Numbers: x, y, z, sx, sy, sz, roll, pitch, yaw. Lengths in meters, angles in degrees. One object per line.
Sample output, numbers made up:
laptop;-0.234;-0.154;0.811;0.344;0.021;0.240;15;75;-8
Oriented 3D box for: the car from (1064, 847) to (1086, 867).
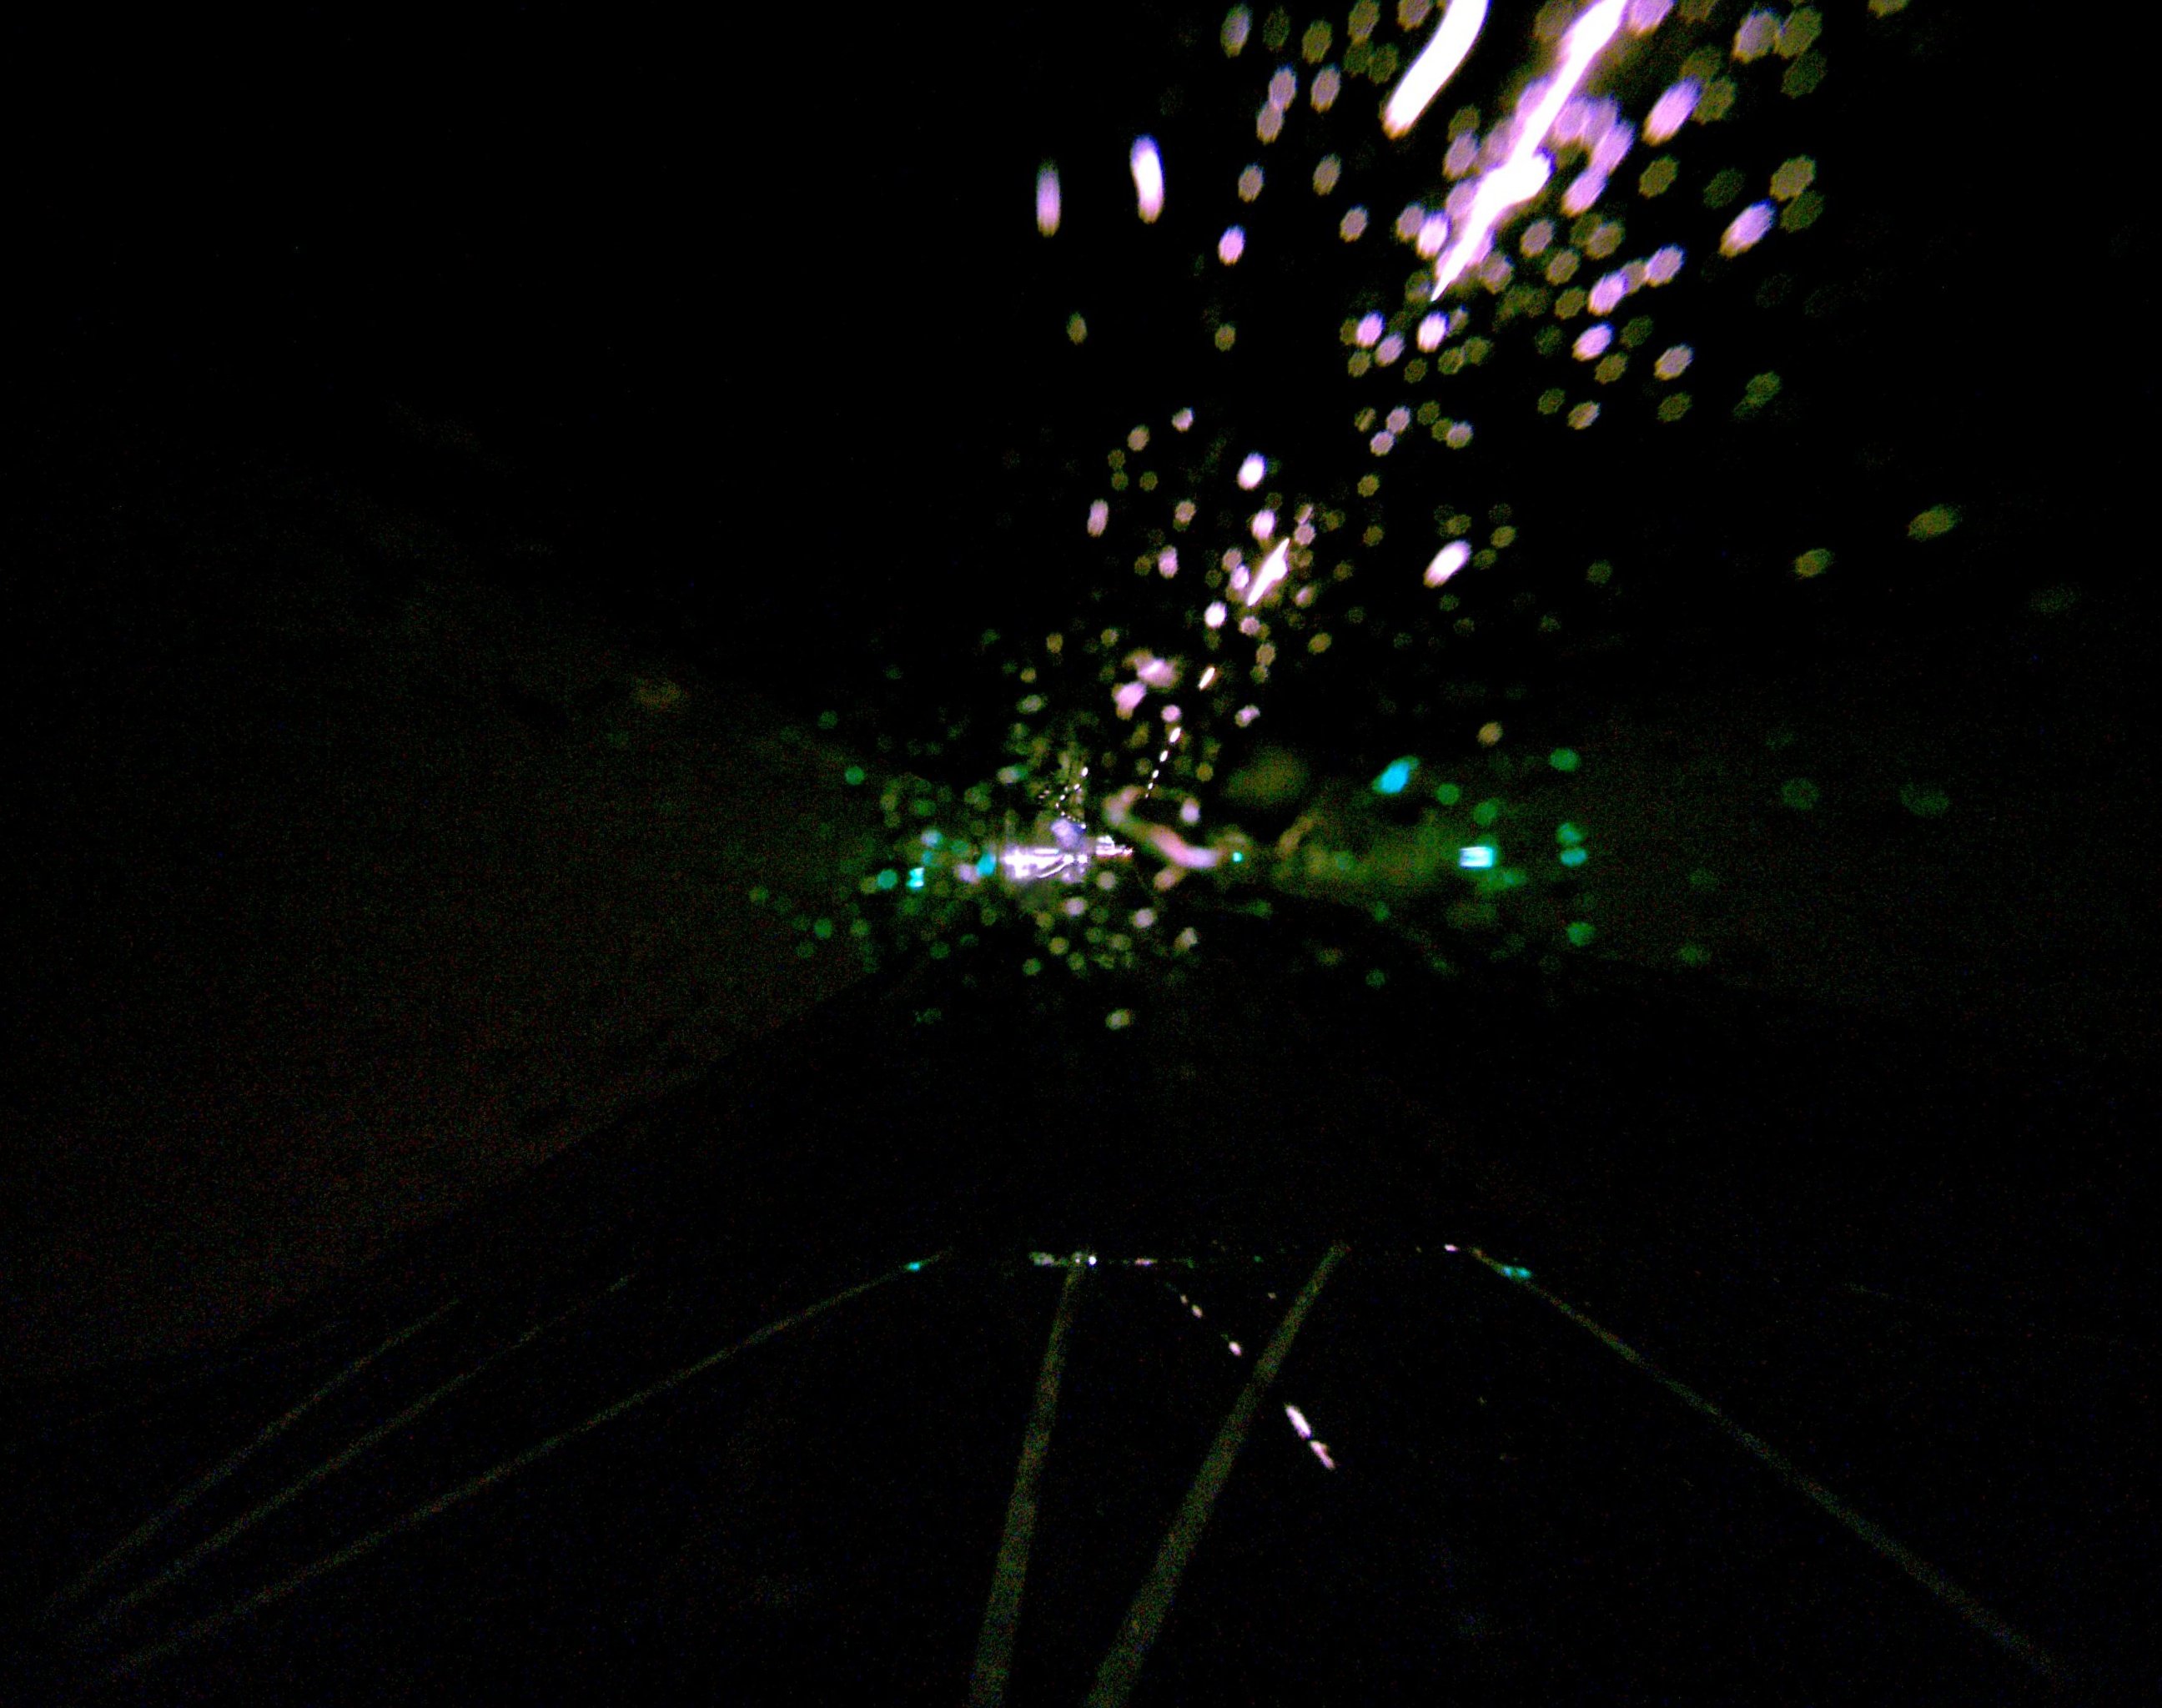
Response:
car;-0.617;0.294;81.725;2.030;2.017;4.425;-3;0;3
